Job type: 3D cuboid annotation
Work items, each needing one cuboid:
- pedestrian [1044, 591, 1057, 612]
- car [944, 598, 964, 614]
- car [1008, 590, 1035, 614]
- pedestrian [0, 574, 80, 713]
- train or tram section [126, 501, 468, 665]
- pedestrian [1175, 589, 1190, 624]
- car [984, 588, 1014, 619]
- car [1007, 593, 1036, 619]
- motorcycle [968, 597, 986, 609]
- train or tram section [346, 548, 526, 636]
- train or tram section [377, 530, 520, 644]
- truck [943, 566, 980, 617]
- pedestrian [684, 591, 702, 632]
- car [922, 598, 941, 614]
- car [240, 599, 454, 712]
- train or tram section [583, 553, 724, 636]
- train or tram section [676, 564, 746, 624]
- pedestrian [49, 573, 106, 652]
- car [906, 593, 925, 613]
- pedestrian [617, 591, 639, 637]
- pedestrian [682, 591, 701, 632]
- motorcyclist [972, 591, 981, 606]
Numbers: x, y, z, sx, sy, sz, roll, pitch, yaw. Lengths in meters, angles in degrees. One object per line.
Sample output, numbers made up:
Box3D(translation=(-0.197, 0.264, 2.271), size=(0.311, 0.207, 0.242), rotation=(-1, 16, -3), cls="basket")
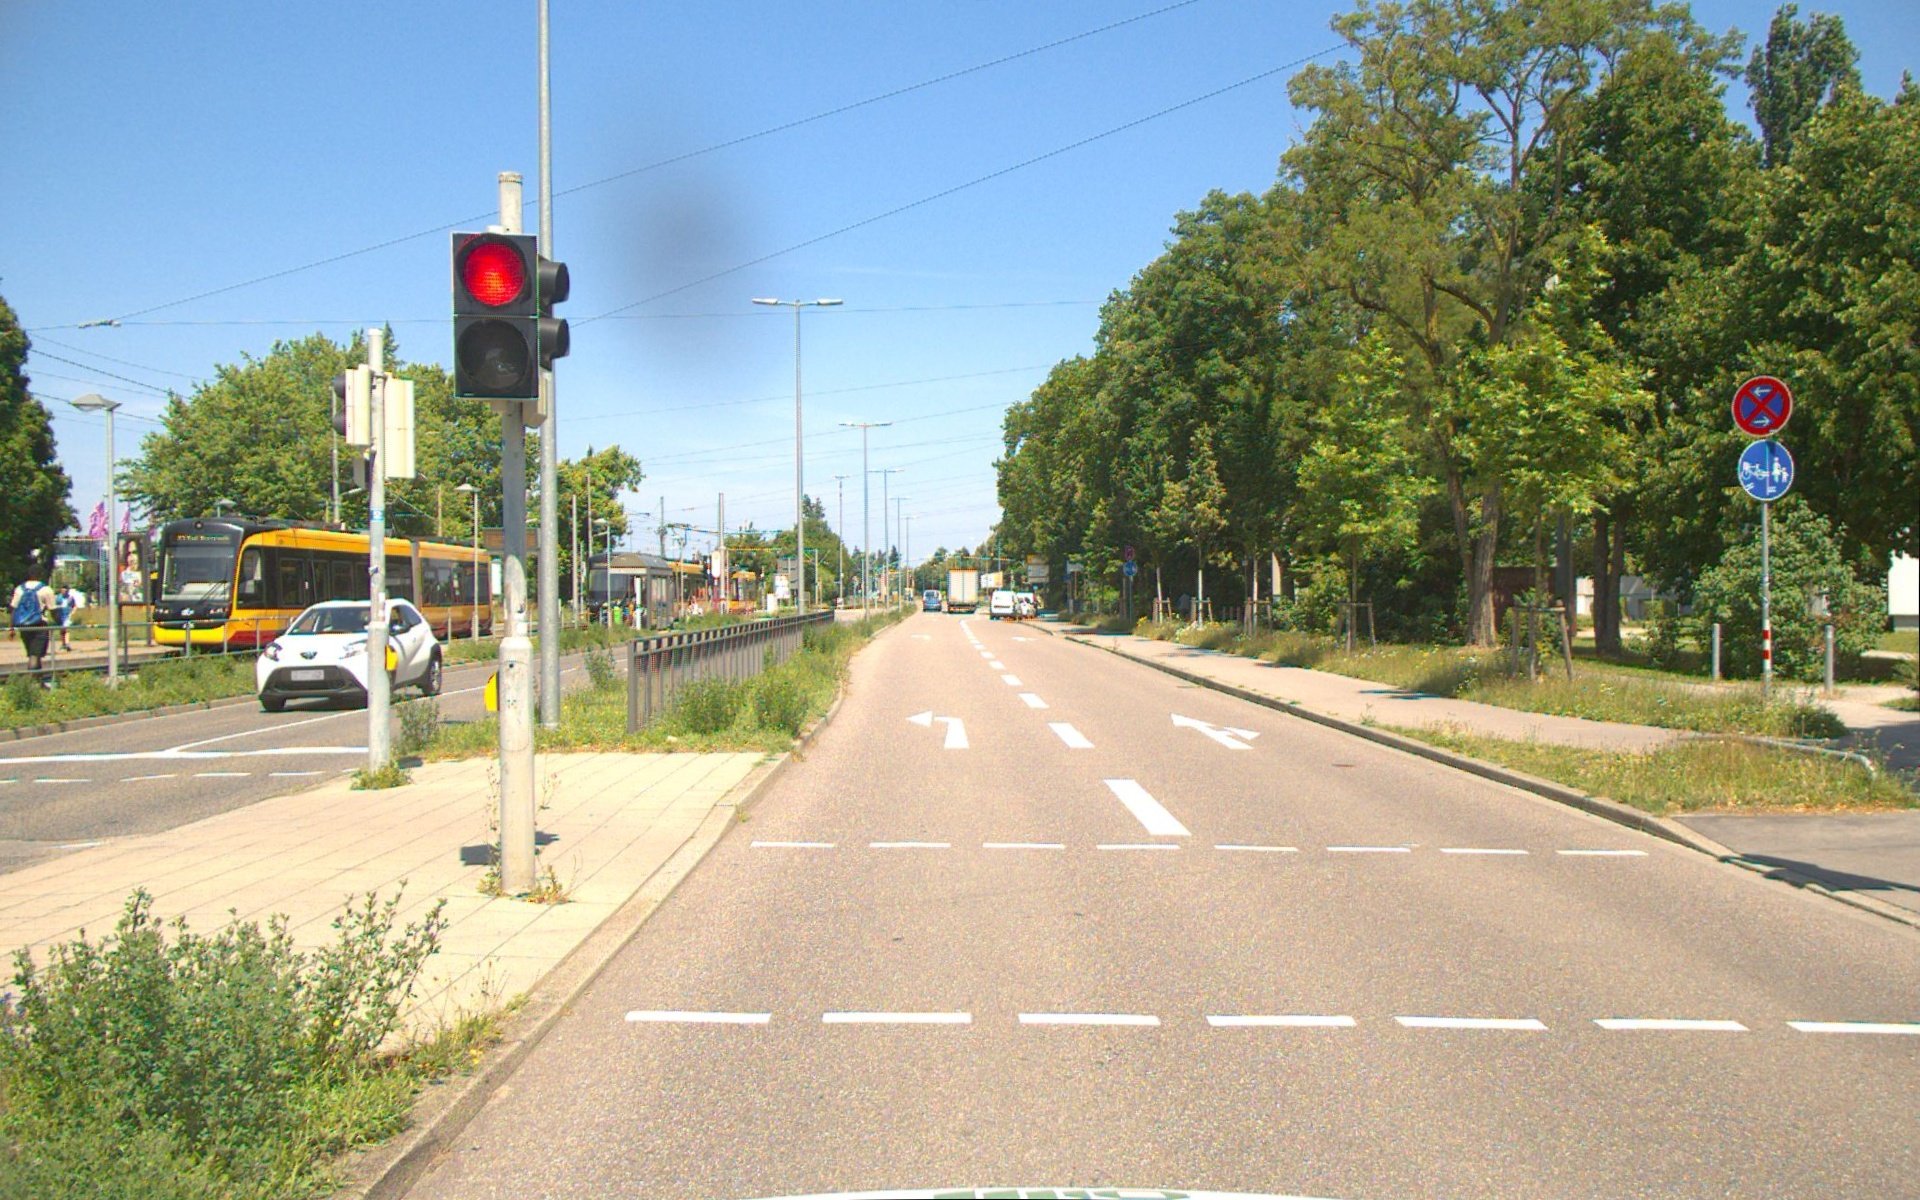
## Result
Box3D(translation=(8.920, 0.141, 163.518), size=(1.161, 2.049, 1.213), rotation=(0, 0, -1), cls="pedestrian")
Box3D(translation=(-0.597, 0.558, 153.597), size=(1.774, 1.490, 3.999), rotation=(0, 0, -1), cls="car")
Box3D(translation=(4.401, 0.115, 118.852), size=(1.743, 1.698, 3.999), rotation=(0, 0, -1), cls="car")
Box3D(translation=(-12.723, 0.580, 22.737), size=(0.703, 1.808, 0.842), rotation=(4, 2, -1), cls="pedestrian")
Box3D(translation=(-18.915, -0.453, 49.597), size=(3.150, 4.000, 18.496), rotation=(0, 0, -1), cls="train or tram section")
Box3D(translation=(9.368, 0.275, 69.661), size=(0.591, 1.463, 0.556), rotation=(0, 0, 6), cls="pedestrian")
Box3D(translation=(2.449, 0.218, 105.547), size=(1.743, 1.937, 3.999), rotation=(0, 0, -1), cls="car")
Box3D(translation=(4.177, 0.395, 112.501), size=(1.743, 1.698, 3.999), rotation=(0, 0, -1), cls="car")
Box3D(translation=(2.094, 0.352, 202.225), size=(2.144, 1.431, 0.845), rotation=(0, 0, -12), cls="motorcycle")
Box3D(translation=(-26.743, -0.375, 83.373), size=(3.190, 4.000, 18.266), rotation=(0, 0, -36), cls="train or tram section")
Box3D(translation=(-20.490, -0.484, 67.628), size=(3.157, 4.000, 18.457), rotation=(0, 0, -10), cls="train or tram section")
Box3D(translation=(0.064, -0.735, 146.063), size=(3.140, 4.435, 6.559), rotation=(0, 0, -1), cls="truck")
Box3D(translation=(-13.470, 0.588, 83.437), size=(0.798, 2.049, 0.938), rotation=(0, 0, -1), cls="pedestrian")
Box3D(translation=(-2.692, 0.517, 157.833), size=(1.774, 1.490, 3.999), rotation=(0, 0, -1), cls="car")
Box3D(translation=(-8.959, 0.756, 24.520), size=(1.807, 1.521, 3.790), rotation=(0, 0, -1), cls="car")
Box3D(translation=(-16.174, -0.306, 90.823), size=(2.898, 3.815, 30.023), rotation=(0, 0, -1), cls="train or tram section")
Box3D(translation=(-18.009, -0.450, 122.110), size=(2.874, 3.856, 33.054), rotation=(0, 0, -5), cls="train or tram section")
Box3D(translation=(-23.177, 0.318, 43.464), size=(0.961, 2.049, 1.021), rotation=(0, 0, -1), cls="pedestrian")
Box3D(translation=(-4.705, 0.327, 175.087), size=(1.953, 2.049, 3.999), rotation=(0, 0, -1), cls="car")
Box3D(translation=(-13.853, 0.591, 69.078), size=(0.769, 1.901, 0.817), rotation=(0, 0, -1), cls="pedestrian")
Box3D(translation=(-13.747, 0.589, 84.726), size=(0.798, 2.049, 0.938), rotation=(0, 0, -1), cls="pedestrian")
Box3D(translation=(2.057, -0.170, 202.234), size=(0.908, 1.867, 0.847), rotation=(0, 0, -12), cls="motorcyclist")
